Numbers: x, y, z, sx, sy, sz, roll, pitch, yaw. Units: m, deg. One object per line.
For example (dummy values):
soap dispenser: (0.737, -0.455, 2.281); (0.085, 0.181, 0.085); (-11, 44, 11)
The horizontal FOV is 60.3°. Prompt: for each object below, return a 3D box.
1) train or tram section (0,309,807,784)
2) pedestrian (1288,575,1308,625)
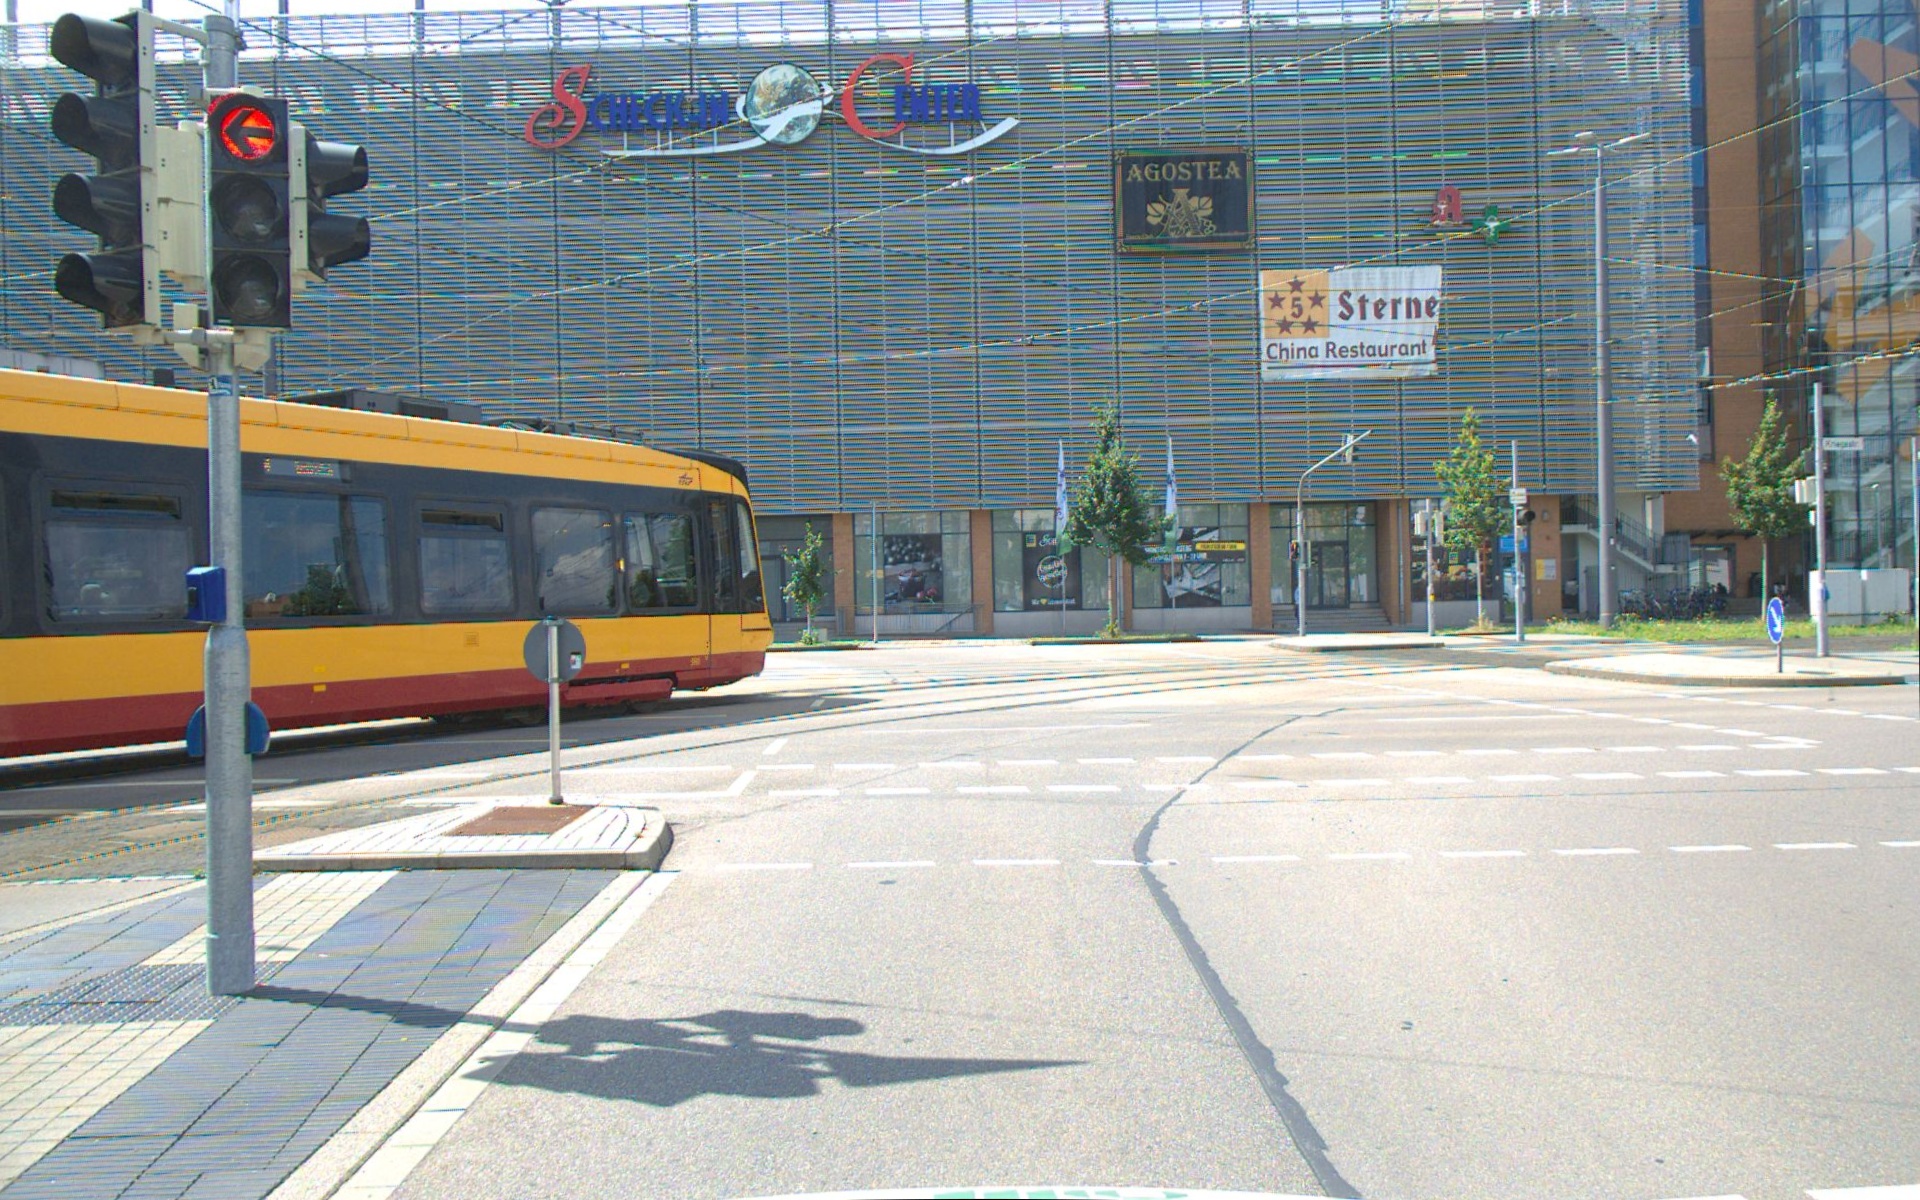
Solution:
train or tram section: (-6.360, -0.486, 18.377); (2.995, 3.684, 12.624); (-2, 0, 26)
pedestrian: (12.074, 0.011, 59.053); (0.605, 1.776, 0.629); (0, 0, 1)
